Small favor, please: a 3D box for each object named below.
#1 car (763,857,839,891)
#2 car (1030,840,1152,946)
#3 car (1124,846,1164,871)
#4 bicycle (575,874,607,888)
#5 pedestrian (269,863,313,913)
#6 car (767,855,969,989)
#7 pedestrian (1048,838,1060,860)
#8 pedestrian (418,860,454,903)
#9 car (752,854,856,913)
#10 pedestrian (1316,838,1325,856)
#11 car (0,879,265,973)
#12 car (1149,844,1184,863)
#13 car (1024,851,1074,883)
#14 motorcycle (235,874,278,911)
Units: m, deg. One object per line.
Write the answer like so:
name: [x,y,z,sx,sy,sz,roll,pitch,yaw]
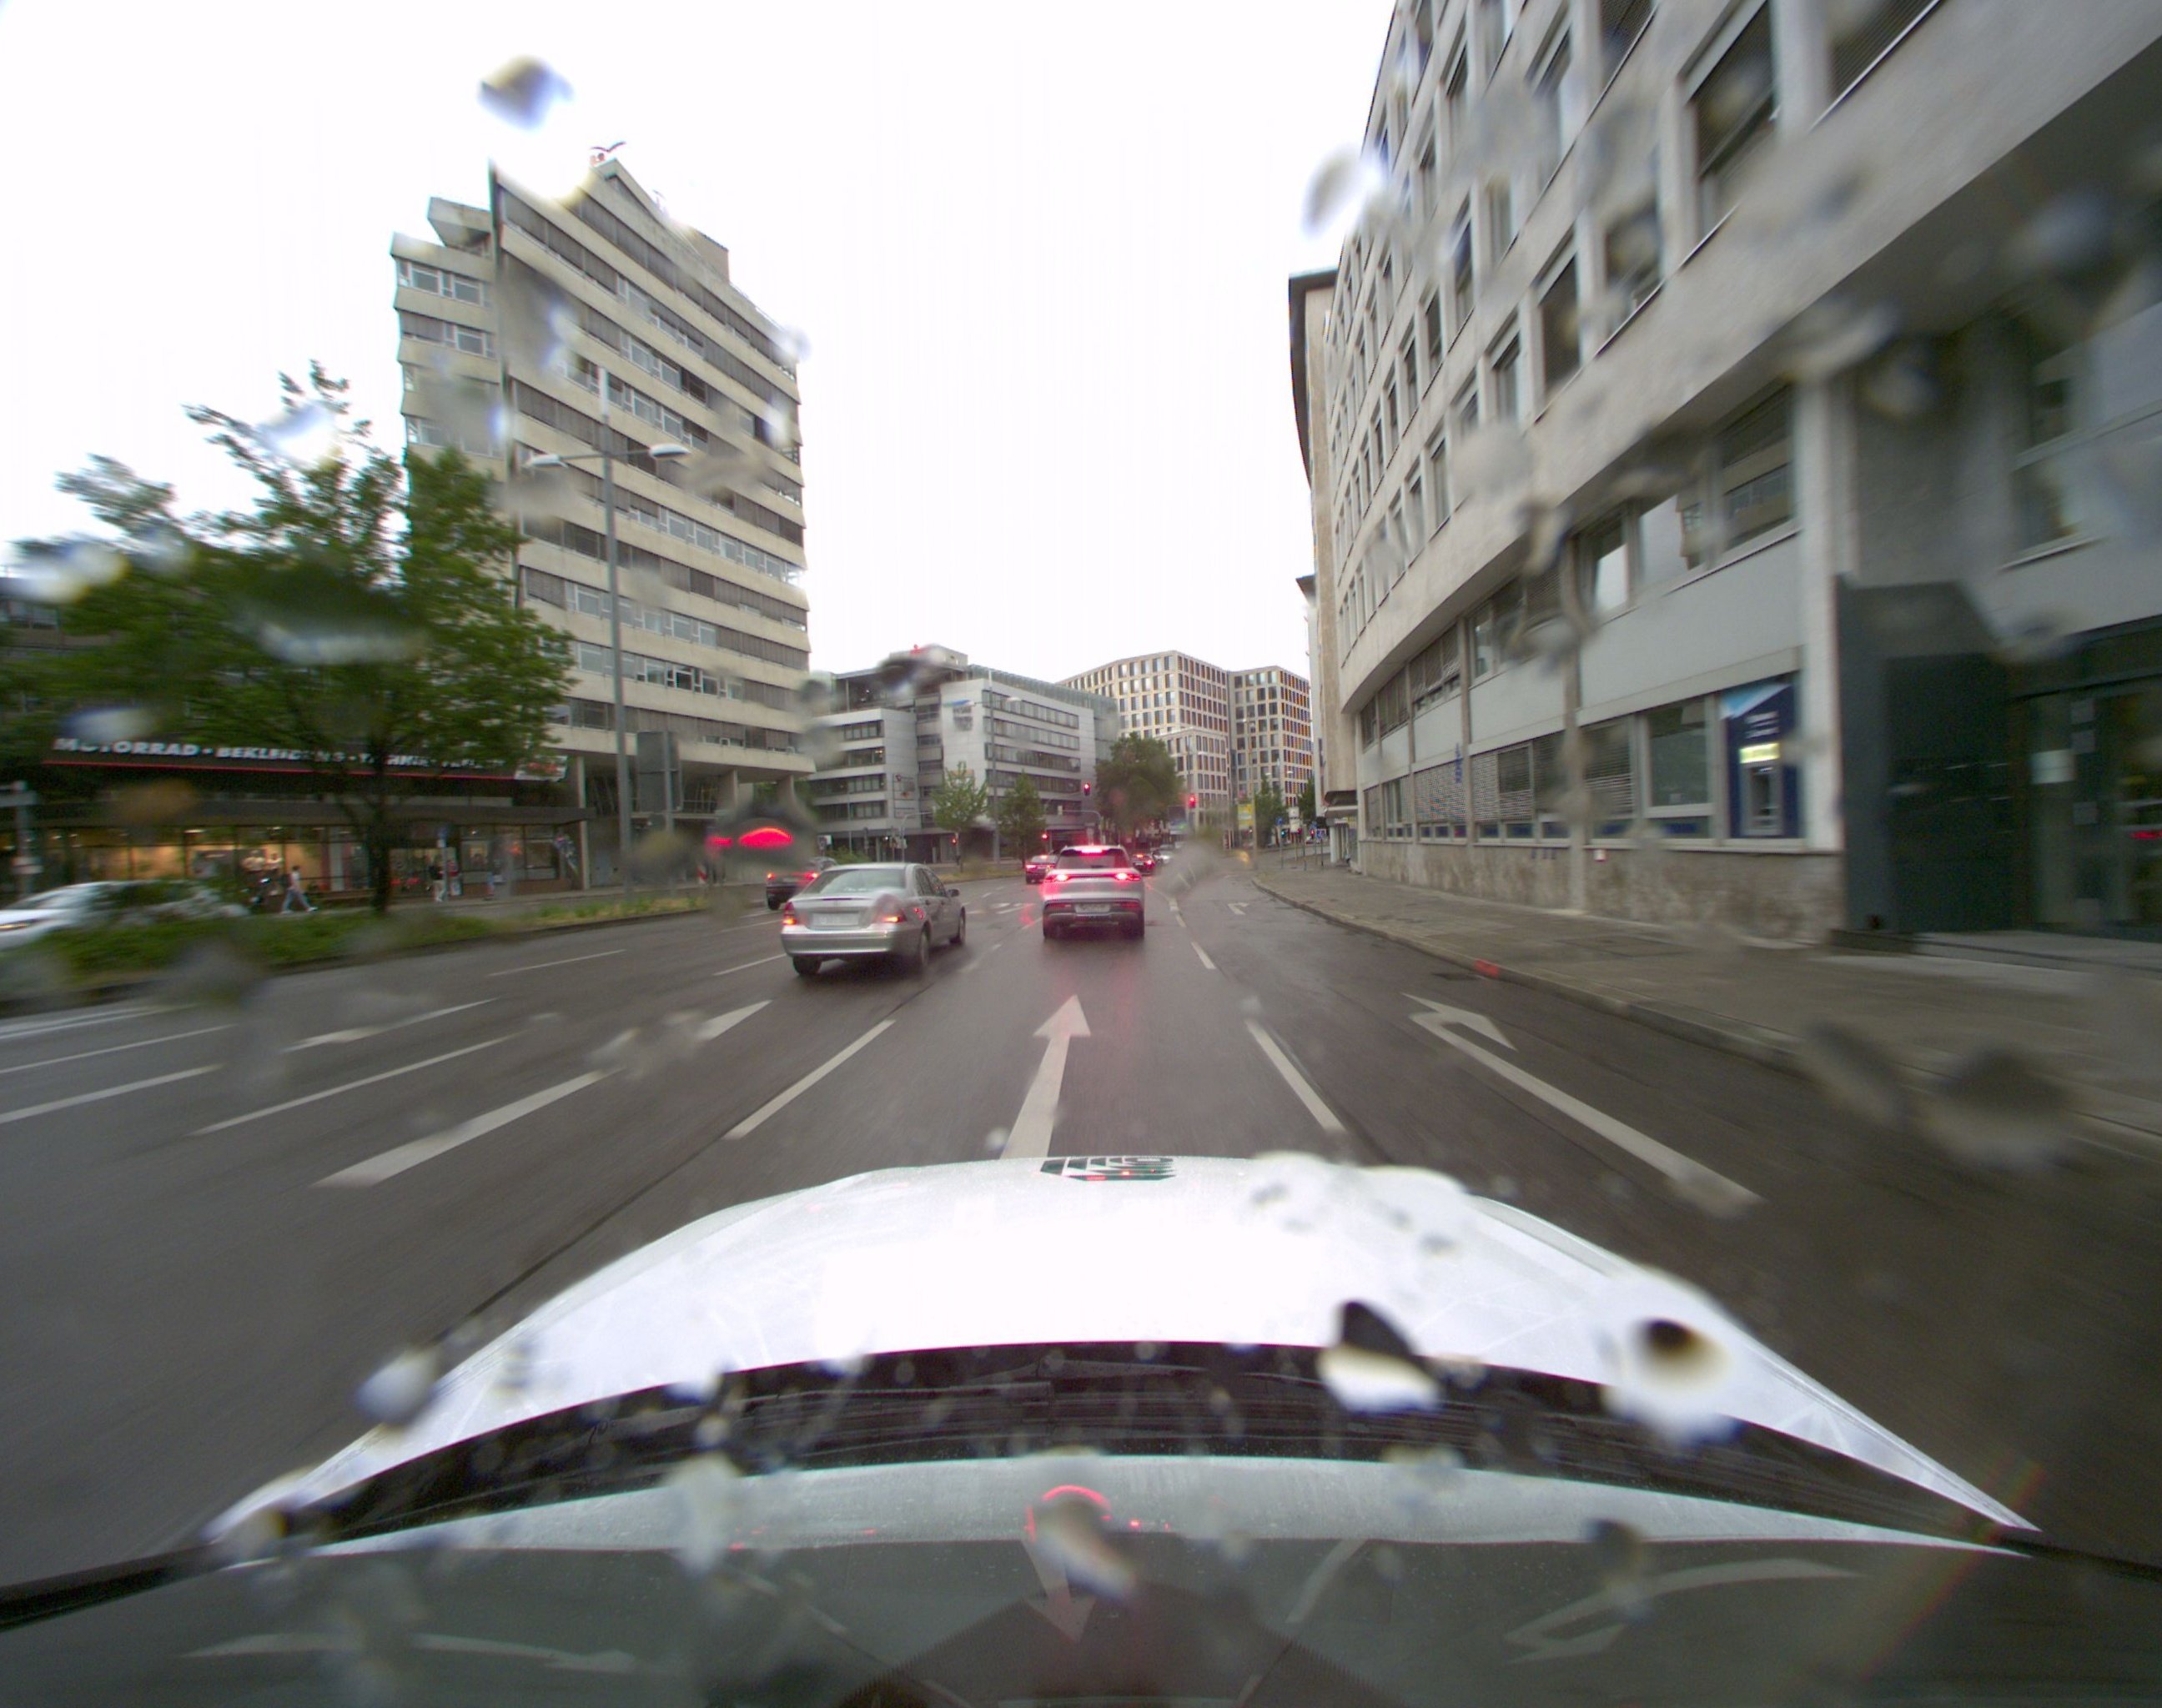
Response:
car: [-15.668,1.076,45.827,1.724,1.728,4.512,-1,1,15]
car: [0.213,0.619,15.819,1.986,1.709,4.484,-2,1,1]
car: [4.360,0.282,56.052,1.940,1.530,4.017,-1,1,16]
bicycle: [-31.137,1.732,51.753,0.450,0.812,1.783,-1,0,22]
pedestrian: [-30.569,1.307,31.517,0.810,1.832,0.930,-2,0,20]
car: [-2.814,0.807,11.754,1.676,1.486,4.198,-2,1,1]
pedestrian: [-2.233,-0.415,68.226,0.919,1.738,0.729,-2,0,-1]
pedestrian: [-28.408,1.197,35.876,0.721,1.832,0.929,-2,0,20]
car: [-8.467,0.838,25.302,1.991,1.544,4.474,-2,1,-5]
pedestrian: [22.447,-0.680,76.375,0.721,1.668,0.694,-2,0,20]
car: [-19.135,1.317,16.098,1.675,1.431,4.088,-1,1,4]
car: [8.663,-0.085,82.664,1.997,1.749,4.507,-2,1,-15]
car: [-1.678,0.672,43.780,1.944,1.530,4.010,-1,1,8]
motorcycle: [-32.894,1.513,32.479,2.855,1.374,0.809,-1,0,36]
